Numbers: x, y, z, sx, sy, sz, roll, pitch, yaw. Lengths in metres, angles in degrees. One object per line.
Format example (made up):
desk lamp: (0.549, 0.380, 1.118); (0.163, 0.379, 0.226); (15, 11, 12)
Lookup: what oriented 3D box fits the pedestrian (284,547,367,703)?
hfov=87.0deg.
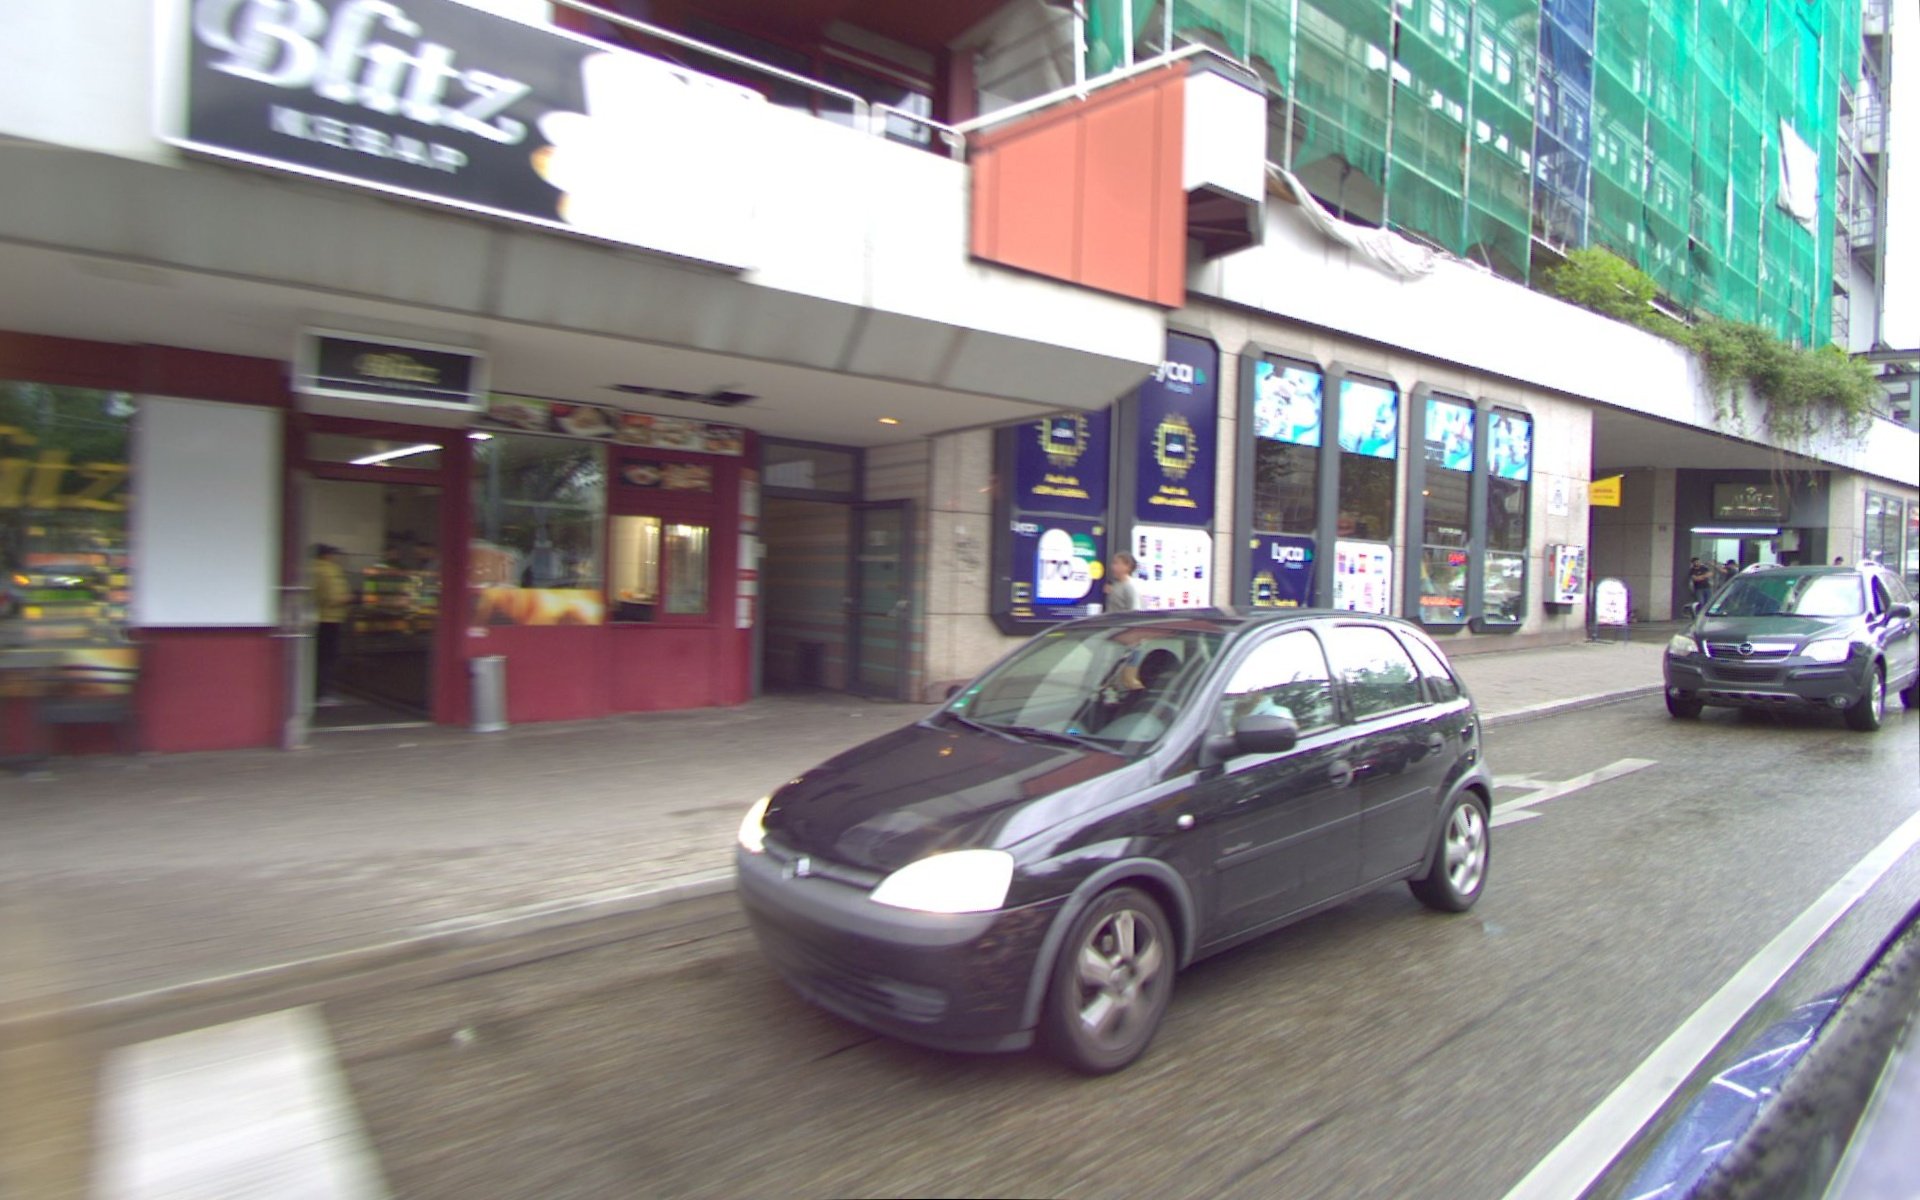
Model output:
pedestrian: (-6.289, 0.228, 10.046); (0.452, 1.505, 0.507); (1, 3, 13)

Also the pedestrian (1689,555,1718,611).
pedestrian: (20.373, -0.482, 27.742); (0.518, 1.506, 0.426); (0, 3, 21)

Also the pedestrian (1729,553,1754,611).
pedestrian: (20.652, -0.479, 26.742); (0.516, 1.506, 0.428); (-3, 4, -43)

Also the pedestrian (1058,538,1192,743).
pedestrian: (1.565, 0.337, 9.696); (0.790, 1.799, 0.900); (-2, 7, -35)

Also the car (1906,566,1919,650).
car: (18.823, 0.071, 18.345); (3.705, 1.448, 1.684); (-3, 2, -34)

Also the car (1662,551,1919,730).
car: (9.801, 0.330, 11.577); (4.171, 1.699, 1.735); (-2, 1, -38)

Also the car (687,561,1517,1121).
car: (0.833, 0.625, 4.402); (3.562, 1.459, 1.595); (1, 1, -40)
